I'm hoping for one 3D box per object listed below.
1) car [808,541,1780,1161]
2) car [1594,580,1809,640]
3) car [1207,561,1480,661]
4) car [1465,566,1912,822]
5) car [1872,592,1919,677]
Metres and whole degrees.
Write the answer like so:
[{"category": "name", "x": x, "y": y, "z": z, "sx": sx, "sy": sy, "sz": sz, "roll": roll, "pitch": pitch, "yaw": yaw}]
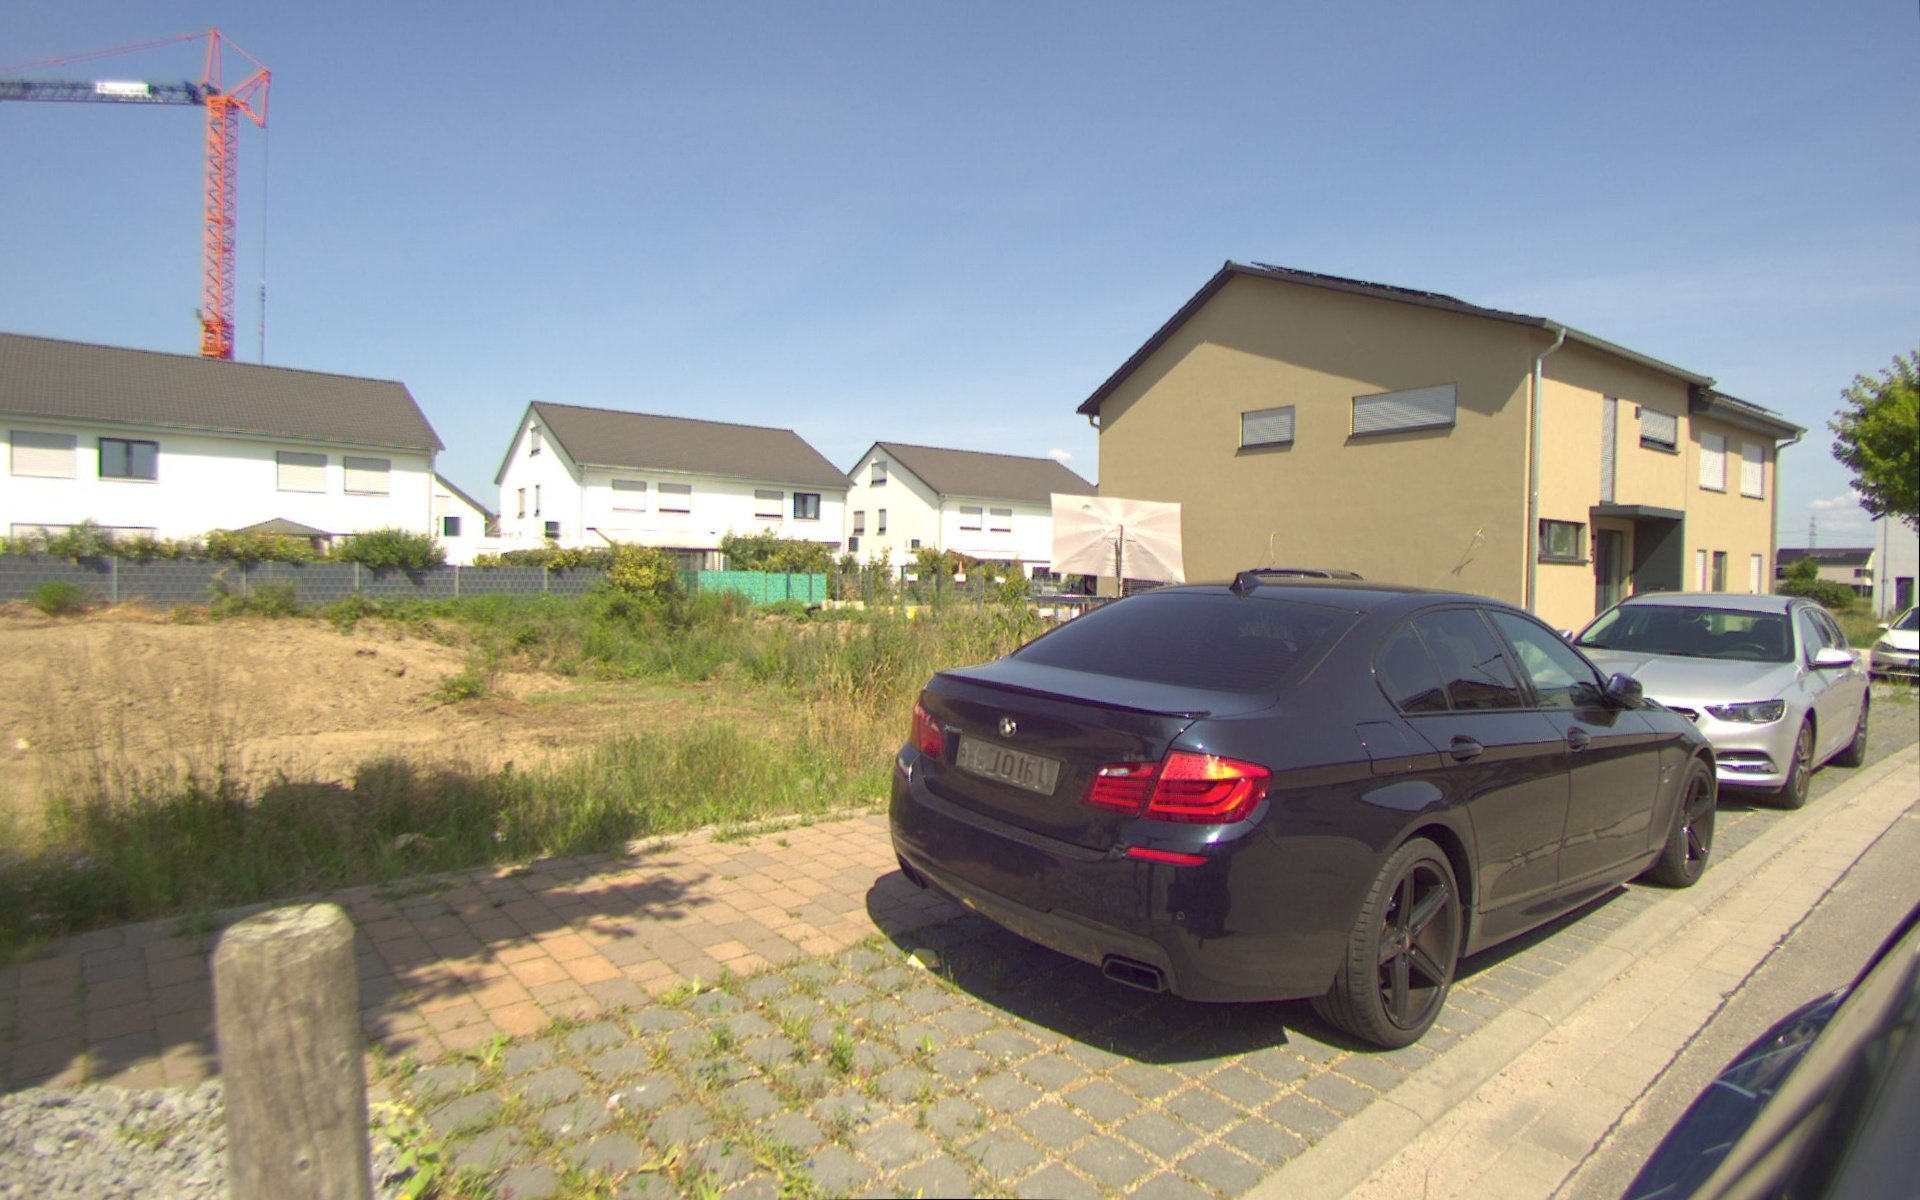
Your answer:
[{"category": "car", "x": 1.980, "y": 0.592, "z": 4.796, "sx": 5.047, "sy": 1.487, "sz": 1.923, "roll": 1, "pitch": 3, "yaw": -39}, {"category": "car", "x": 22.705, "y": 0.249, "z": 31.197, "sx": 1.961, "sy": 1.443, "sz": 4.908, "roll": 1, "pitch": 4, "yaw": -34}, {"category": "car", "x": 7.498, "y": 0.103, "z": 20.223, "sx": 1.964, "sy": 1.664, "sz": 4.758, "roll": -1, "pitch": 3, "yaw": -39}, {"category": "car", "x": 6.479, "y": 0.582, "z": 8.710, "sx": 5.201, "sy": 1.529, "sz": 1.923, "roll": 1, "pitch": 3, "yaw": -41}, {"category": "car", "x": 18.595, "y": 0.651, "z": 18.709, "sx": 4.431, "sy": 1.443, "sz": 1.785, "roll": 1, "pitch": 2, "yaw": -38}]
